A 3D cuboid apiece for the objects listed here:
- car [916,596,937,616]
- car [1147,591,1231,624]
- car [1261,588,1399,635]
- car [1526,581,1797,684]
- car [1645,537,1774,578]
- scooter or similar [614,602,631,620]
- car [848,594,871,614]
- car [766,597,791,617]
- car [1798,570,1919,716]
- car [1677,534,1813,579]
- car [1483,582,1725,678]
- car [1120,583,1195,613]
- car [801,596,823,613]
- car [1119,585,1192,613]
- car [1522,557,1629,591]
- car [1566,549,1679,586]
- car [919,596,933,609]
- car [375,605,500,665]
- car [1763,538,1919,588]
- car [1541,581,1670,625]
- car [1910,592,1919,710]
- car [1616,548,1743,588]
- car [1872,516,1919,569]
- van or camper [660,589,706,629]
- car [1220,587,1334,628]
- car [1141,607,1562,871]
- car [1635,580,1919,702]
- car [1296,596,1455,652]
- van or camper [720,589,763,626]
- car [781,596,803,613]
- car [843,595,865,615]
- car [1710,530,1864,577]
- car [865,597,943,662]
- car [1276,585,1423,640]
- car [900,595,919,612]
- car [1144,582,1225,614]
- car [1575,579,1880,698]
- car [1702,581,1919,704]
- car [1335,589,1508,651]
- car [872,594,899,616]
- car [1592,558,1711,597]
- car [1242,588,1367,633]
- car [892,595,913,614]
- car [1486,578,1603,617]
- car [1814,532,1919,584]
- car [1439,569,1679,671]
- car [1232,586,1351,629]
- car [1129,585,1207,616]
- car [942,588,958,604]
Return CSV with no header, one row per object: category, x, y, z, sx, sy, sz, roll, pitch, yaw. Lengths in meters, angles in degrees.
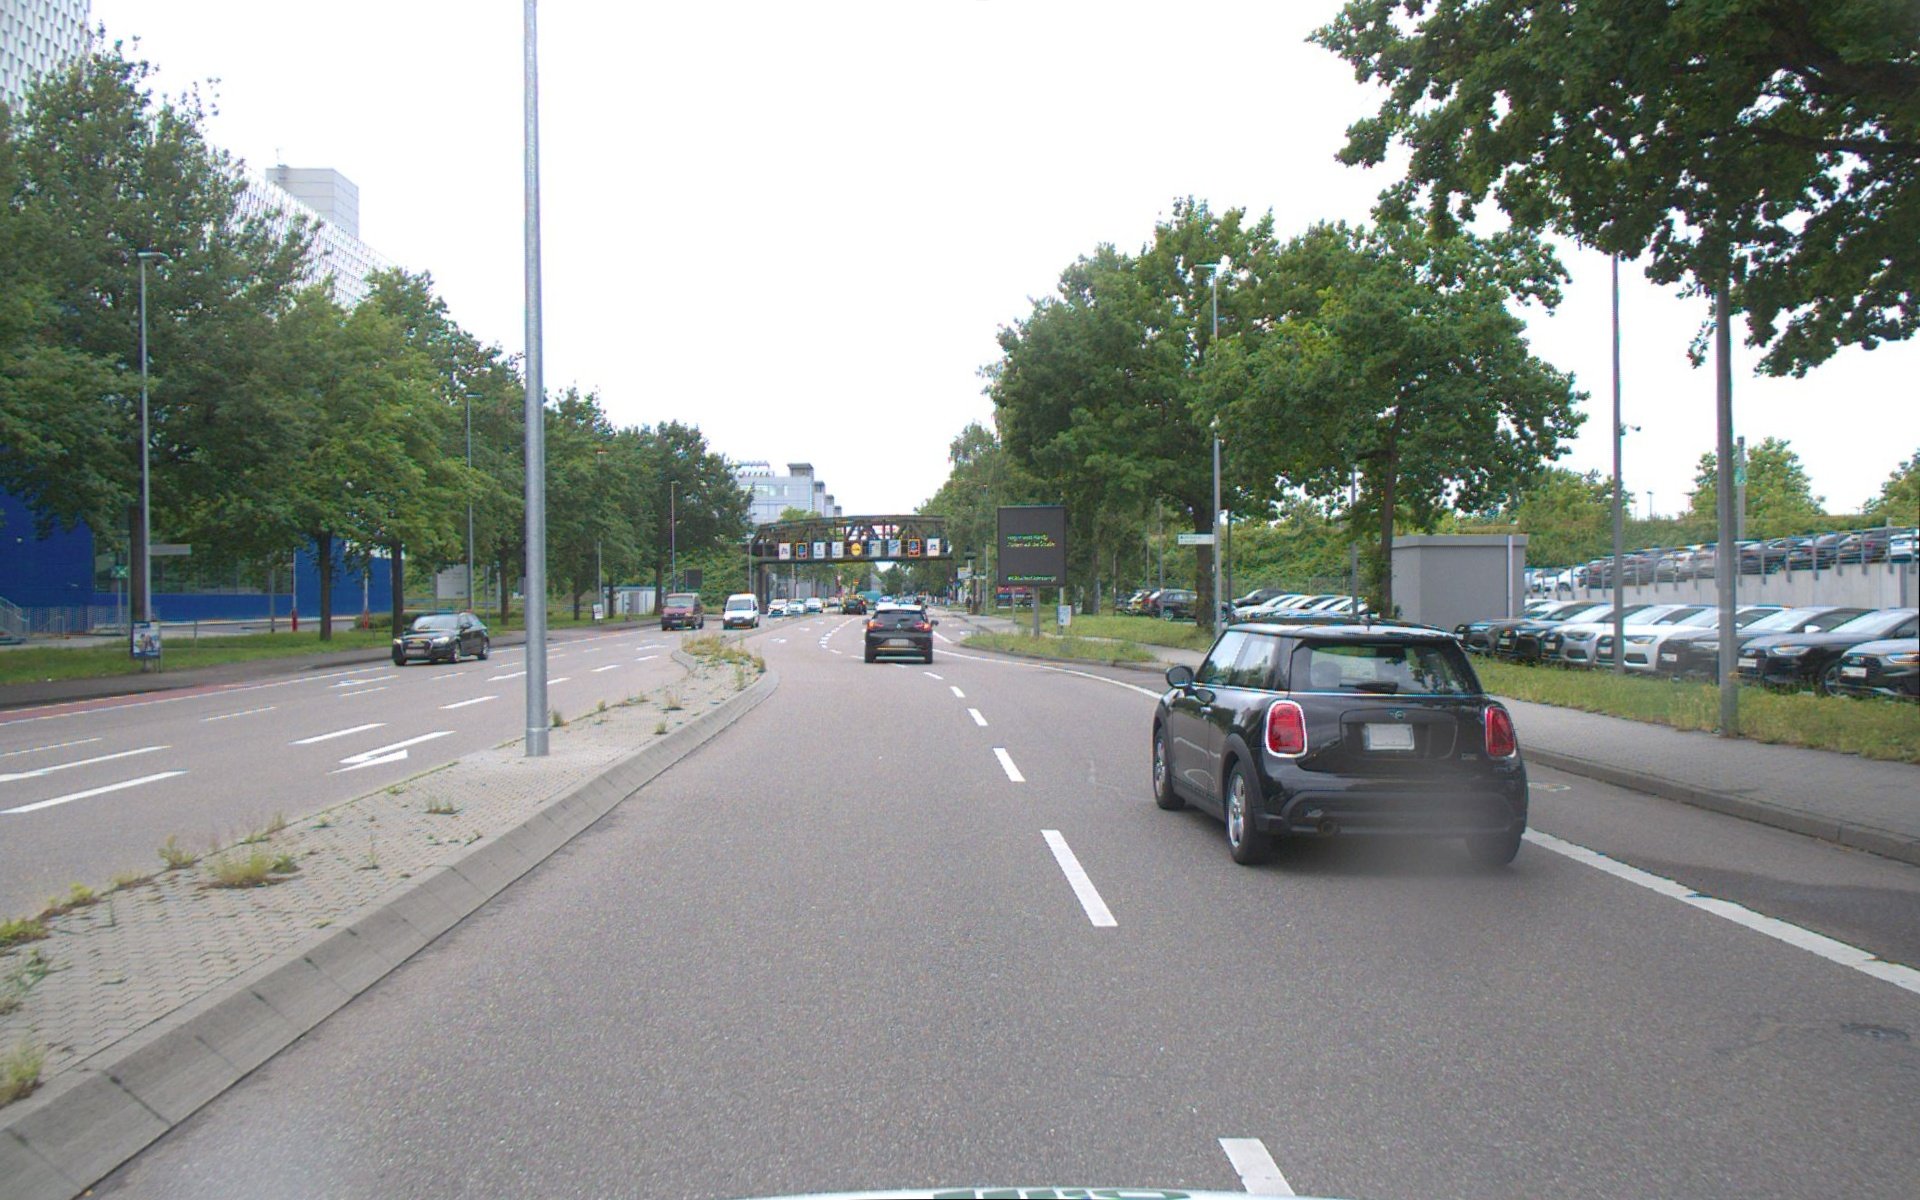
car,-3.102,0.547,152.859,1.845,1.690,3.783,1,2,1
car,11.039,0.370,79.761,3.903,1.460,1.731,1,2,4
car,12.544,0.365,56.230,4.256,1.514,1.842,1,0,-3
car,13.290,0.582,31.533,4.208,1.530,2.029,5,1,-1
car,27.684,-1.587,61.175,4.004,1.460,1.729,1,2,-3
scooter or similar,-22.170,0.707,108.639,0.747,1.108,2.006,0,2,-3
car,-9.889,0.378,163.047,1.910,1.847,4.001,1,2,0
car,-15.001,0.547,136.888,1.718,1.471,3.340,1,2,1
car,13.229,0.650,20.960,4.092,1.691,2.000,5,2,-1
car,27.747,-1.537,58.537,4.004,1.522,1.729,1,2,-3
car,13.150,0.583,33.940,4.092,1.470,1.960,6,2,-1
car,10.459,-0.115,87.754,3.903,1.460,1.731,1,2,4
car,-15.635,0.472,174.519,1.900,1.705,3.783,1,2,1
car,10.744,-0.054,90.938,3.903,1.460,1.731,1,2,4
car,27.507,-1.183,73.992,4.115,1.460,1.729,1,2,-3
car,27.522,-1.361,68.811,4.004,1.460,1.729,1,2,-3
car,-5.094,0.361,248.380,1.910,1.847,4.001,1,2,0
car,-14.869,0.967,47.321,1.878,1.528,4.254,-3,0,5
car,28.507,-1.208,53.346,4.249,1.522,1.969,1,2,-3
car,23.277,0.101,59.718,4.004,1.460,1.729,1,2,-3
car,13.275,0.721,18.493,4.098,1.511,1.977,5,2,-2
car,27.524,-1.235,63.336,4.004,1.460,1.946,1,2,-3
car,29.015,-1.644,47.866,4.249,1.522,1.881,1,2,-3
van or camper,-14.960,0.446,89.545,1.837,2.021,4.888,-1,1,-2
car,12.154,0.271,63.562,4.004,1.460,1.729,1,2,-3
car,2.350,0.787,10.890,1.750,1.440,3.640,0,-1,-3
car,13.269,0.644,26.346,4.092,1.494,2.000,6,2,-1
car,12.787,0.712,51.101,4.356,1.599,1.999,-1,0,-3
van or camper,-11.492,0.360,87.252,1.720,1.777,4.405,-4,1,-2
car,-15.514,0.422,152.912,1.684,1.395,3.441,1,2,1
car,-9.991,0.442,156.196,1.845,1.690,3.783,1,2,1
car,27.918,-1.569,55.906,4.249,1.522,1.881,1,2,-3
car,-1.359,0.712,41.600,1.720,1.459,4.001,-1,1,1
car,12.646,0.399,53.866,4.256,1.529,1.929,3,0,-3
car,-5.603,0.355,183.959,1.845,1.690,3.783,1,2,1
car,11.150,-0.112,82.384,3.903,1.460,1.731,1,2,4
car,13.353,0.639,28.959,4.306,1.546,2.000,6,2,-1
car,13.168,0.658,23.731,4.092,1.481,1.934,5,2,-1
car,12.807,0.555,46.114,4.206,1.417,2.000,4,0,-1
car,-6.491,0.422,143.761,2.091,1.690,3.783,1,2,1
car,27.599,-0.911,66.084,4.004,1.460,1.729,1,2,-3
car,12.231,0.364,58.839,4.004,1.460,1.821,1,2,-3
car,-6.021,0.452,173.486,1.910,1.847,4.001,1,2,0
car,23.047,-0.101,65.261,4.004,1.460,1.729,1,2,-3
car,28.801,-1.280,50.617,4.249,1.522,2.068,1,2,-3
car,13.158,0.419,36.542,4.459,1.731,2.000,6,2,-1
car,12.246,0.269,61.247,4.004,1.460,1.845,1,2,-3
car,10.704,0.010,85.408,3.903,1.460,1.731,1,2,4
car,-1.224,-0.484,208.992,1.910,1.847,4.001,1,2,0
